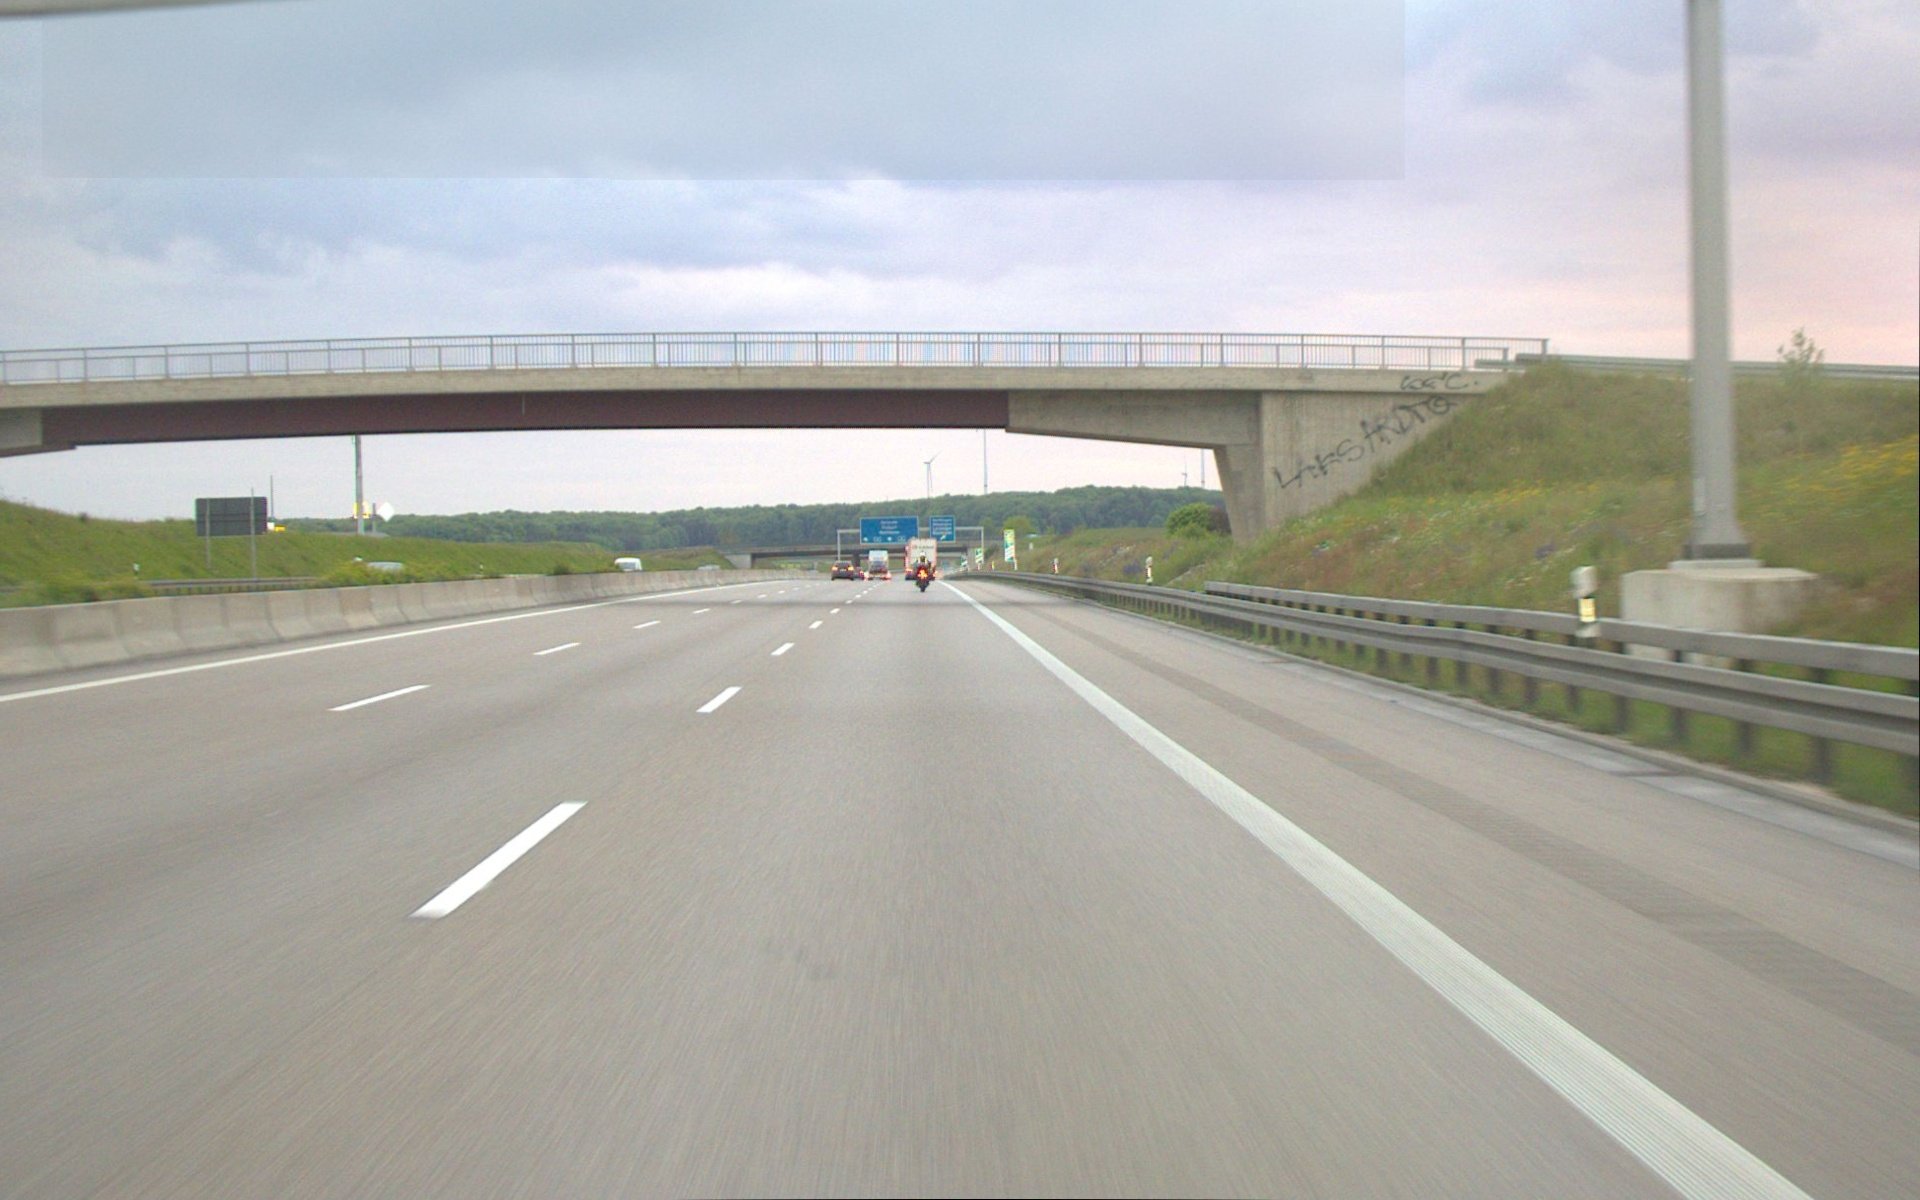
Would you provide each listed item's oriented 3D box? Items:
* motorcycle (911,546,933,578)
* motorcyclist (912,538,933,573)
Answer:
[{"bbox_3d":[-1.605,-1.619,145.279,0.902,1.342,2.349,0,1,-1],"label":"motorcycle"},{"bbox_3d":[-1.581,-1.871,145.211,0.866,1.482,1.168,1,1,1],"label":"motorcyclist"}]
